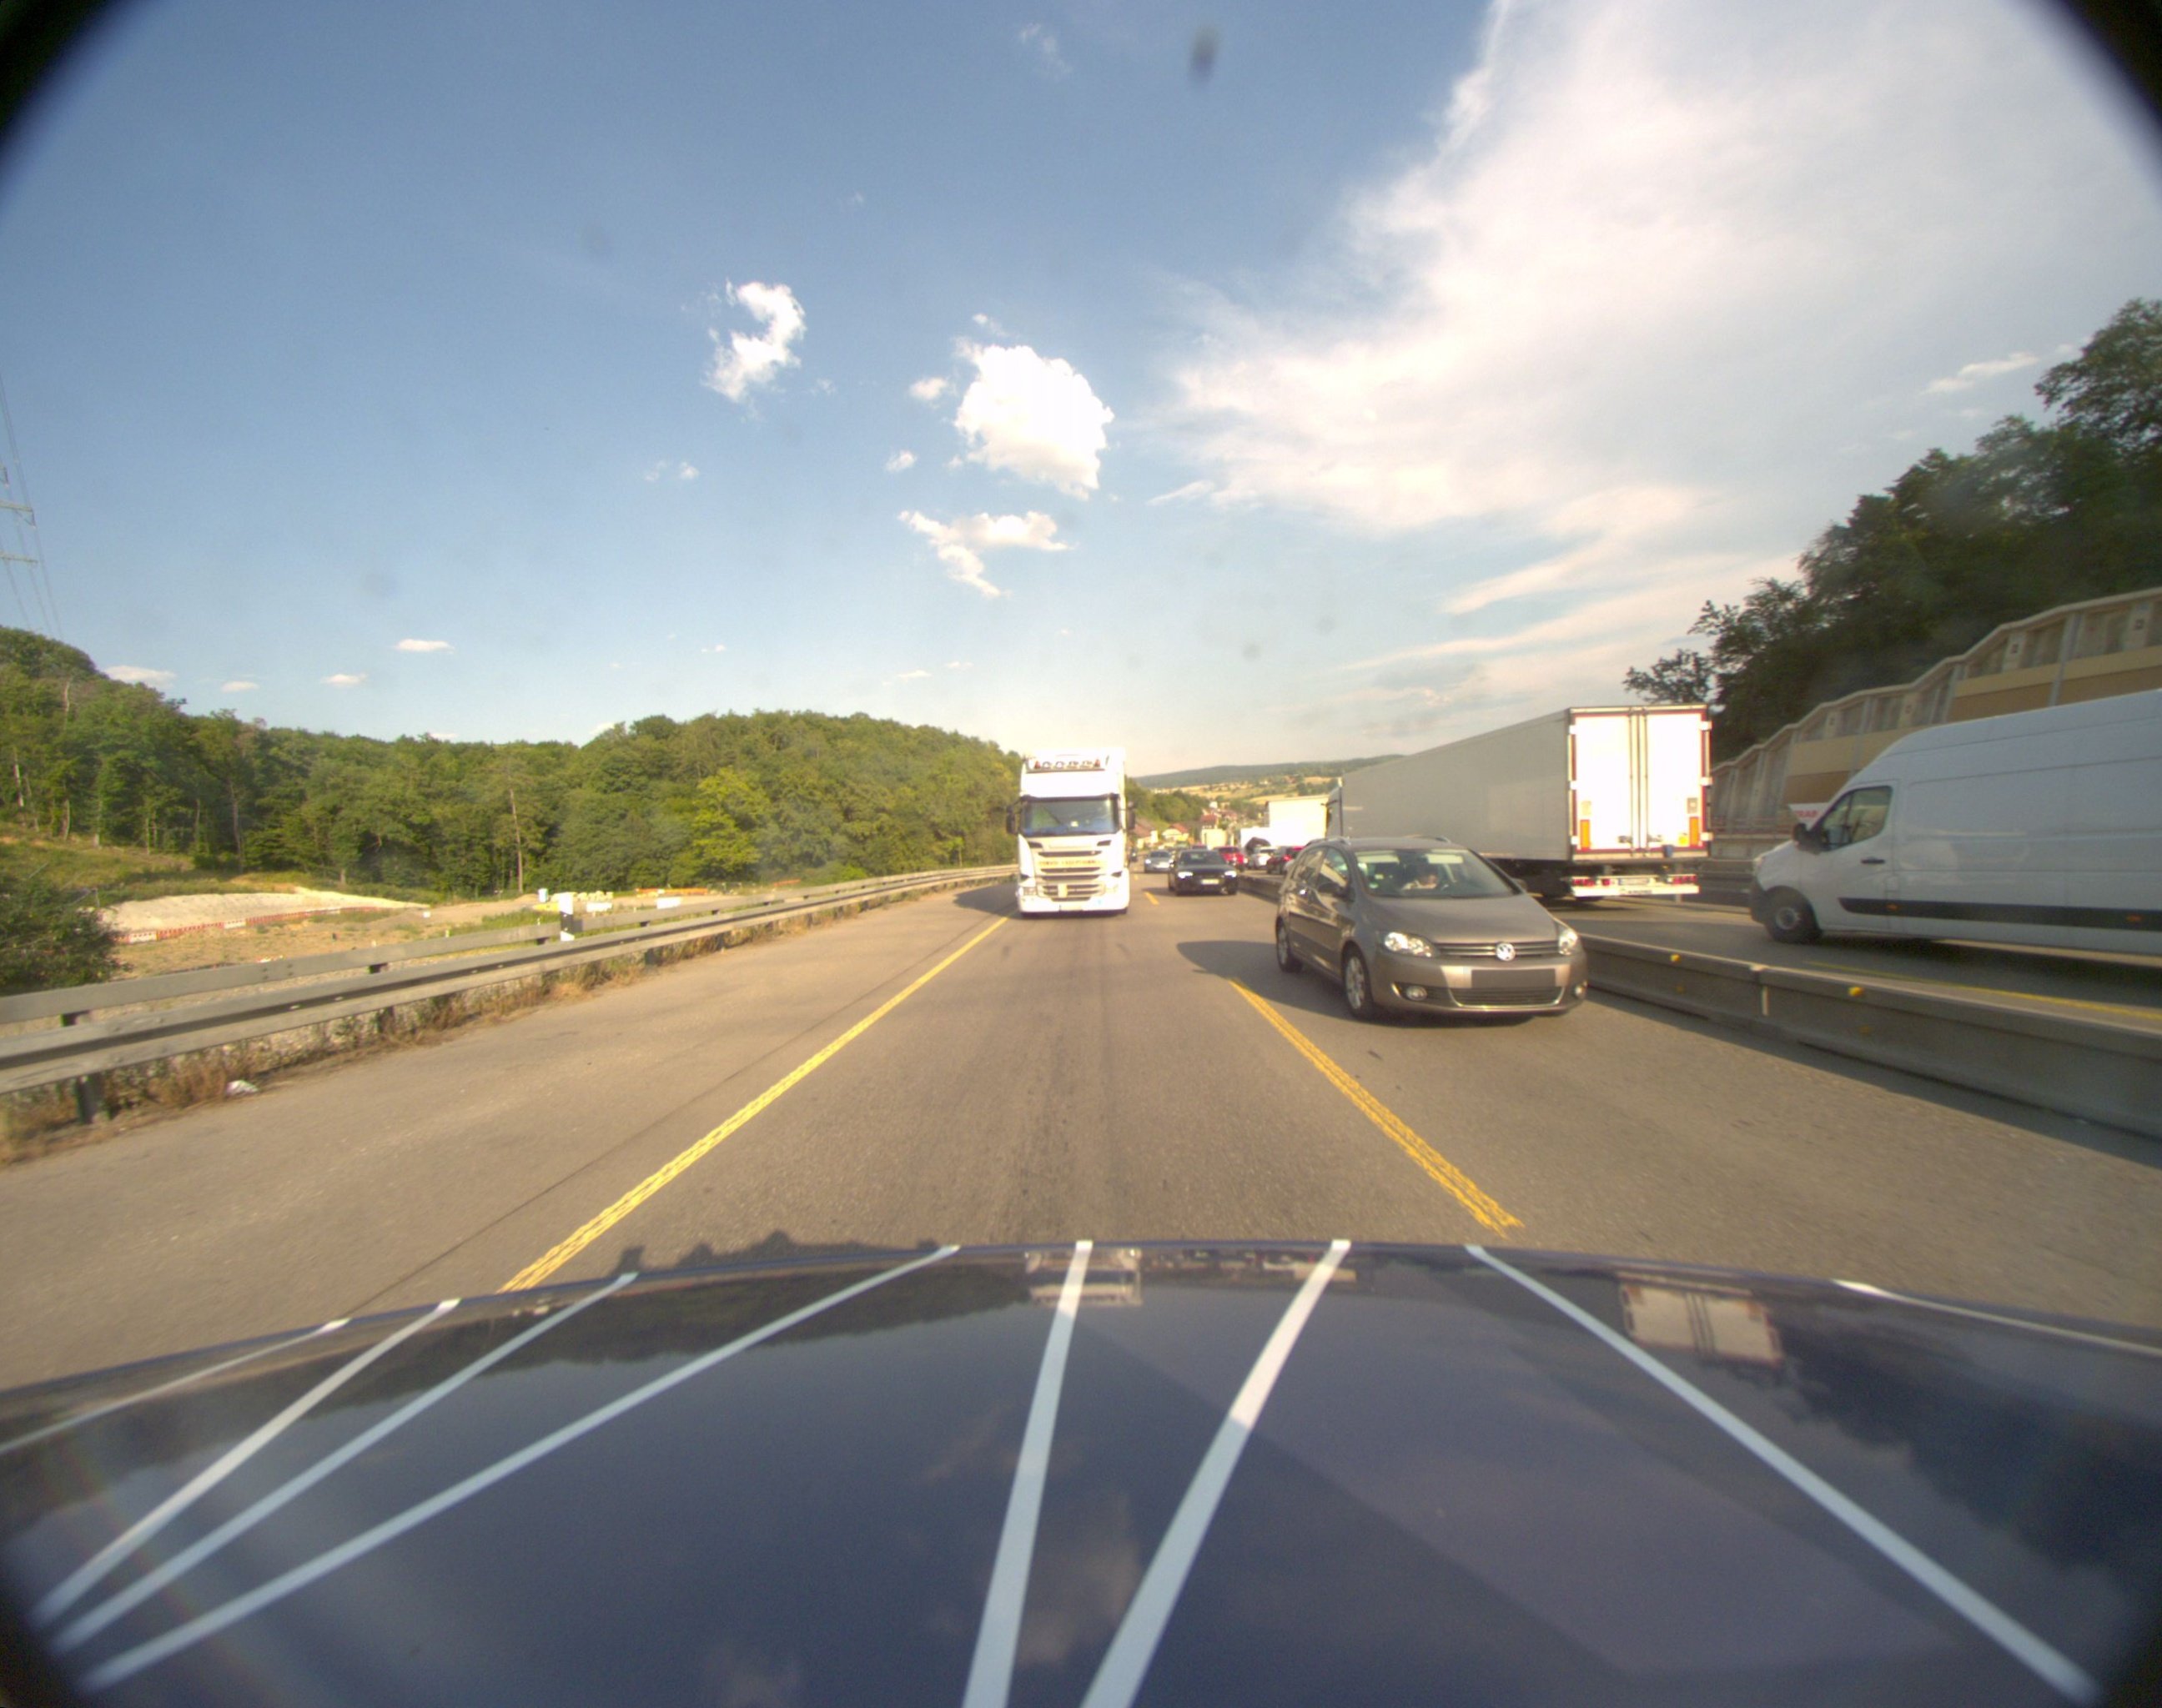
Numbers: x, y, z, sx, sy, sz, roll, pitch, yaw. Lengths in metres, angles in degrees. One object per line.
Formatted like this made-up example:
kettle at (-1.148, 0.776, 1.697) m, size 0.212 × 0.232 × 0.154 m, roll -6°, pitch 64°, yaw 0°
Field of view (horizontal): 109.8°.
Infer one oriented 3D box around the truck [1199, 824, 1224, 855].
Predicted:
truck at (18.226, -2.092, 106.912) m, size 2.713 × 4.065 × 14.158 m, roll -1°, pitch 1°, yaw 7°

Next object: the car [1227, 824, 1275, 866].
car at (12.595, -0.723, 56.942) m, size 2.339 × 2.901 × 7.633 m, roll -1°, pitch 1°, yaw 4°

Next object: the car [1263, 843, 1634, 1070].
car at (3.112, 0.707, 7.463) m, size 1.688 × 1.565 × 4.099 m, roll -2°, pitch 1°, yaw 1°

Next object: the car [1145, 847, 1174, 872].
car at (4.913, 0.332, 47.192) m, size 1.697 × 1.390 × 4.002 m, roll -3°, pitch 0°, yaw 7°

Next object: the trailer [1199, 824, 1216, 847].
trailer at (22.857, -3.306, 137.714) m, size 2.863 × 4.013 × 13.977 m, roll -1°, pitch 1°, yaw 9°

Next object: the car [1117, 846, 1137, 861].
car at (5.417, -0.051, 90.155) m, size 1.999 × 1.630 × 3.999 m, roll -2°, pitch 1°, yaw -1°

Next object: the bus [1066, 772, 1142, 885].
bus at (1.326, -1.079, 36.101) m, size 2.984 × 4.553 × 9.969 m, roll -1°, pitch 0°, yaw 4°

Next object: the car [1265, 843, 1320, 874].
car at (10.789, 0.192, 39.088) m, size 1.747 × 1.452 × 4.714 m, roll -1°, pitch 0°, yaw 3°

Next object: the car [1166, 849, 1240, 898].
car at (3.857, 0.576, 24.614) m, size 1.867 × 1.391 × 4.000 m, roll -1°, pitch 1°, yaw 2°

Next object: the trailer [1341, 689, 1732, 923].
trailer at (10.696, -0.965, 20.784) m, size 2.727 × 4.194 × 13.747 m, roll -2°, pitch 1°, yaw 1°

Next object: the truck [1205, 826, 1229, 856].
truck at (16.533, -1.543, 92.483) m, size 2.452 × 3.443 × 7.620 m, roll -1°, pitch 1°, yaw 8°

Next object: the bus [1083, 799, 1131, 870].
bus at (2.060, -1.308, 55.037) m, size 2.984 × 4.553 × 10.905 m, roll -1°, pitch 0°, yaw 4°

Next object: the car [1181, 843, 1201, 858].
car at (12.045, -0.339, 83.372) m, size 1.821 × 1.569 × 4.757 m, roll 0°, pitch 0°, yaw 4°

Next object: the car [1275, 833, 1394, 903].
car at (7.077, 0.288, 21.792) m, size 1.874 × 1.580 × 4.801 m, roll 3°, pitch 3°, yaw 2°

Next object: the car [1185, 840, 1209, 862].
car at (9.954, -0.196, 65.409) m, size 1.808 × 1.761 × 5.456 m, roll -2°, pitch -1°, yaw 6°

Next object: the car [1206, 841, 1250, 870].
car at (8.694, 0.113, 45.334) m, size 1.892 × 1.559 × 4.456 m, roll -3°, pitch 0°, yaw 3°

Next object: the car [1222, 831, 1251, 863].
car at (13.401, -0.669, 65.757) m, size 1.960 × 2.606 × 5.750 m, roll -1°, pitch 1°, yaw 6°

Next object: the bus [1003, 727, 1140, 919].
bus at (0.217, -0.767, 21.996) m, size 2.634 × 4.077 × 11.316 m, roll -1°, pitch 1°, yaw 6°

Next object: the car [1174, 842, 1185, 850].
car at (19.172, -1.497, 148.130) m, size 1.821 × 1.569 × 4.757 m, roll 0°, pitch 0°, yaw 4°

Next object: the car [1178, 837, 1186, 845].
car at (27.849, -3.651, 209.397) m, size 1.821 × 1.988 × 4.757 m, roll 0°, pitch 0°, yaw 4°

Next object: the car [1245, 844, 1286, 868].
car at (11.740, 0.092, 48.610) m, size 1.752 × 1.414 × 4.610 m, roll -2°, pitch 1°, yaw 4°

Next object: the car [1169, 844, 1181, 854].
car at (16.039, -0.818, 130.326) m, size 1.821 × 1.569 × 4.757 m, roll 0°, pitch 0°, yaw 4°

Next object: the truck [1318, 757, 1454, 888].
truck at (10.865, -1.066, 27.660) m, size 2.719 × 4.194 × 5.682 m, roll -2°, pitch 1°, yaw 1°

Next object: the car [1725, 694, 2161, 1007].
car at (10.237, -0.084, 7.440) m, size 2.027 × 2.675 × 6.948 m, roll -3°, pitch 1°, yaw 1°
